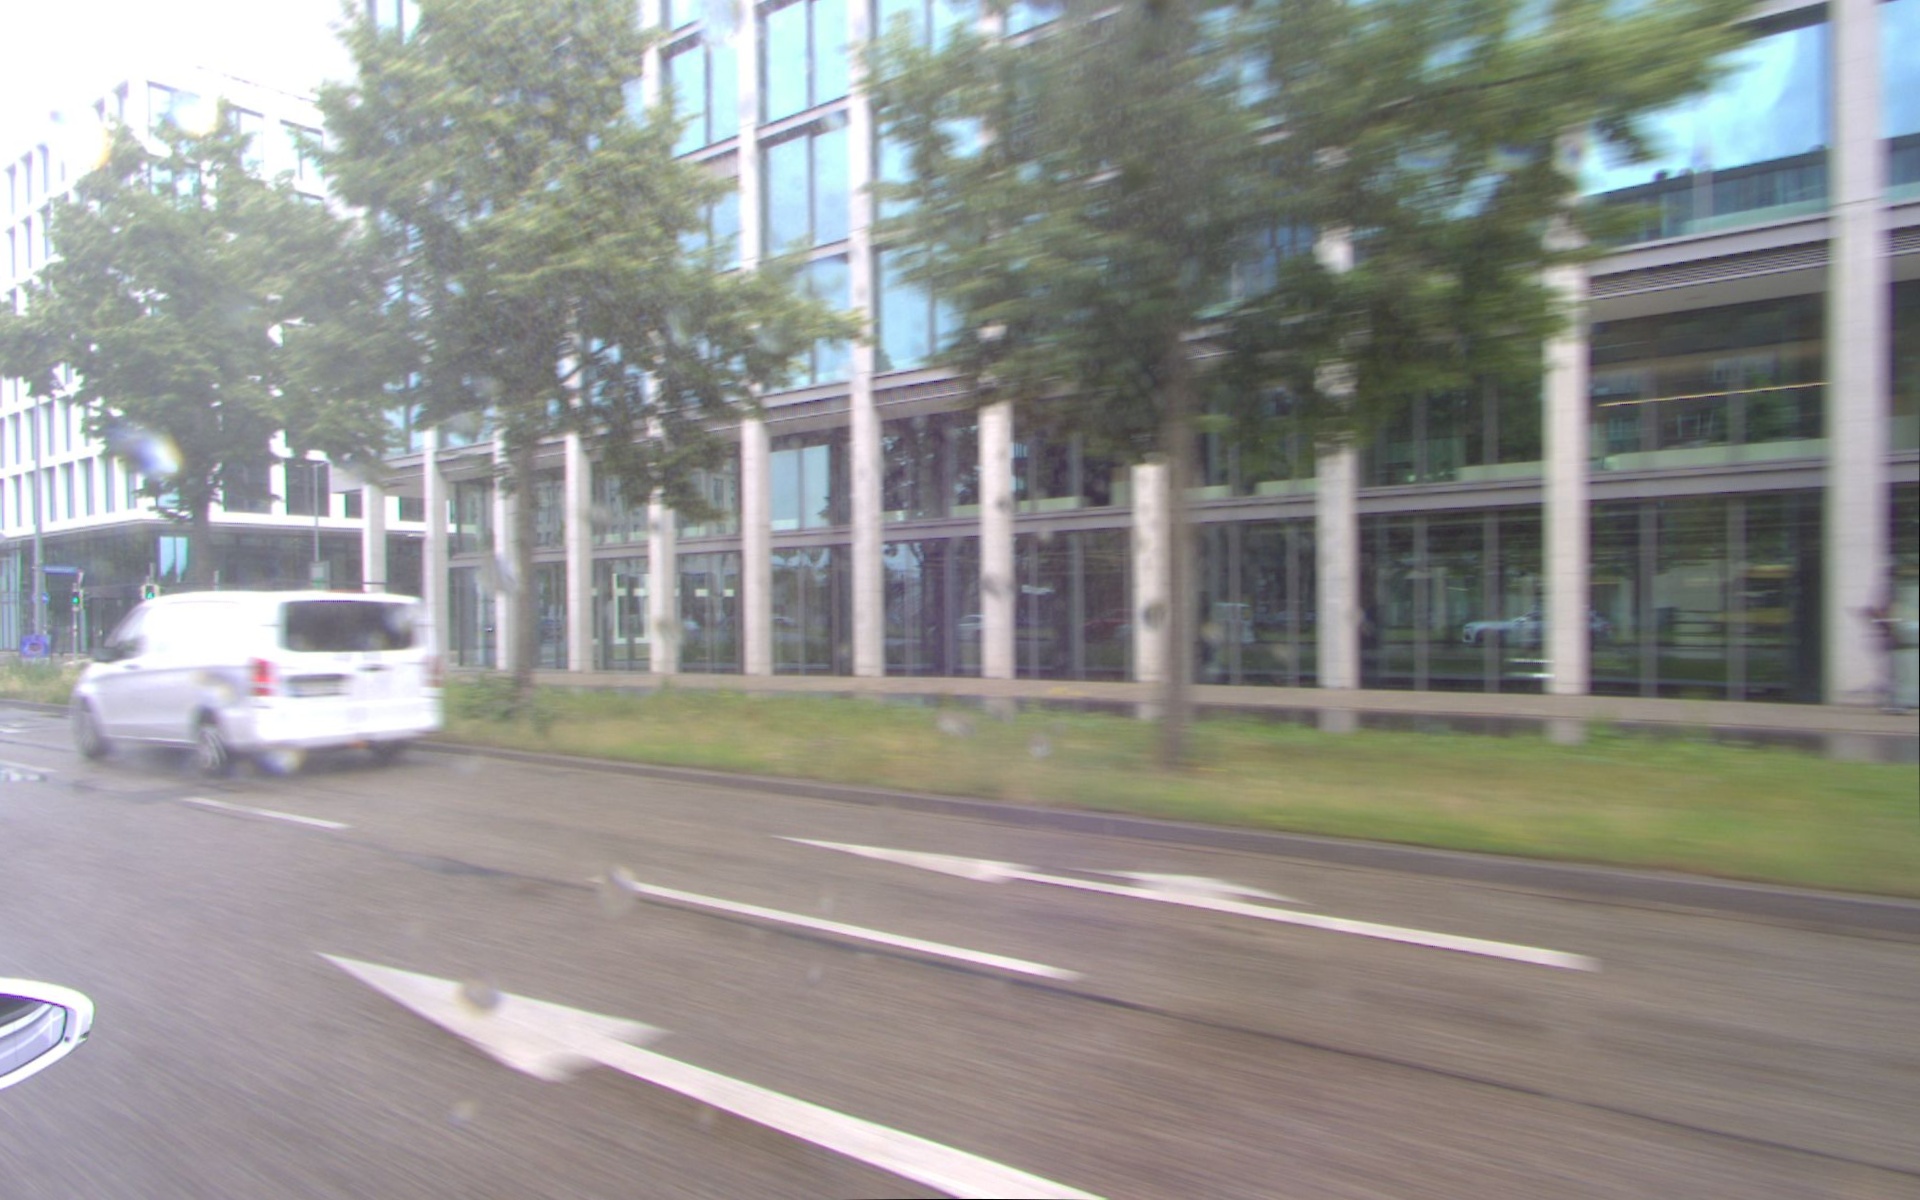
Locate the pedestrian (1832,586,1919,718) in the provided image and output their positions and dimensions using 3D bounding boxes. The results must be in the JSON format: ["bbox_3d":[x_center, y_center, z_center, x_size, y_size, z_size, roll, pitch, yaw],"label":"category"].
[{"bbox_3d":[12.614,0.689,13.741,0.848,1.738,0.715,0,2,31],"label":"pedestrian"}]

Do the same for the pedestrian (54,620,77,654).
[{"bbox_3d":[-45.452,1.885,50.902,0.773,1.729,0.676,0,-1,32],"label":"pedestrian"}]

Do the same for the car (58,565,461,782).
[{"bbox_3d":[-8.078,0.761,11.414,5.018,2.004,1.964,-1,-2,32],"label":"car"}]
